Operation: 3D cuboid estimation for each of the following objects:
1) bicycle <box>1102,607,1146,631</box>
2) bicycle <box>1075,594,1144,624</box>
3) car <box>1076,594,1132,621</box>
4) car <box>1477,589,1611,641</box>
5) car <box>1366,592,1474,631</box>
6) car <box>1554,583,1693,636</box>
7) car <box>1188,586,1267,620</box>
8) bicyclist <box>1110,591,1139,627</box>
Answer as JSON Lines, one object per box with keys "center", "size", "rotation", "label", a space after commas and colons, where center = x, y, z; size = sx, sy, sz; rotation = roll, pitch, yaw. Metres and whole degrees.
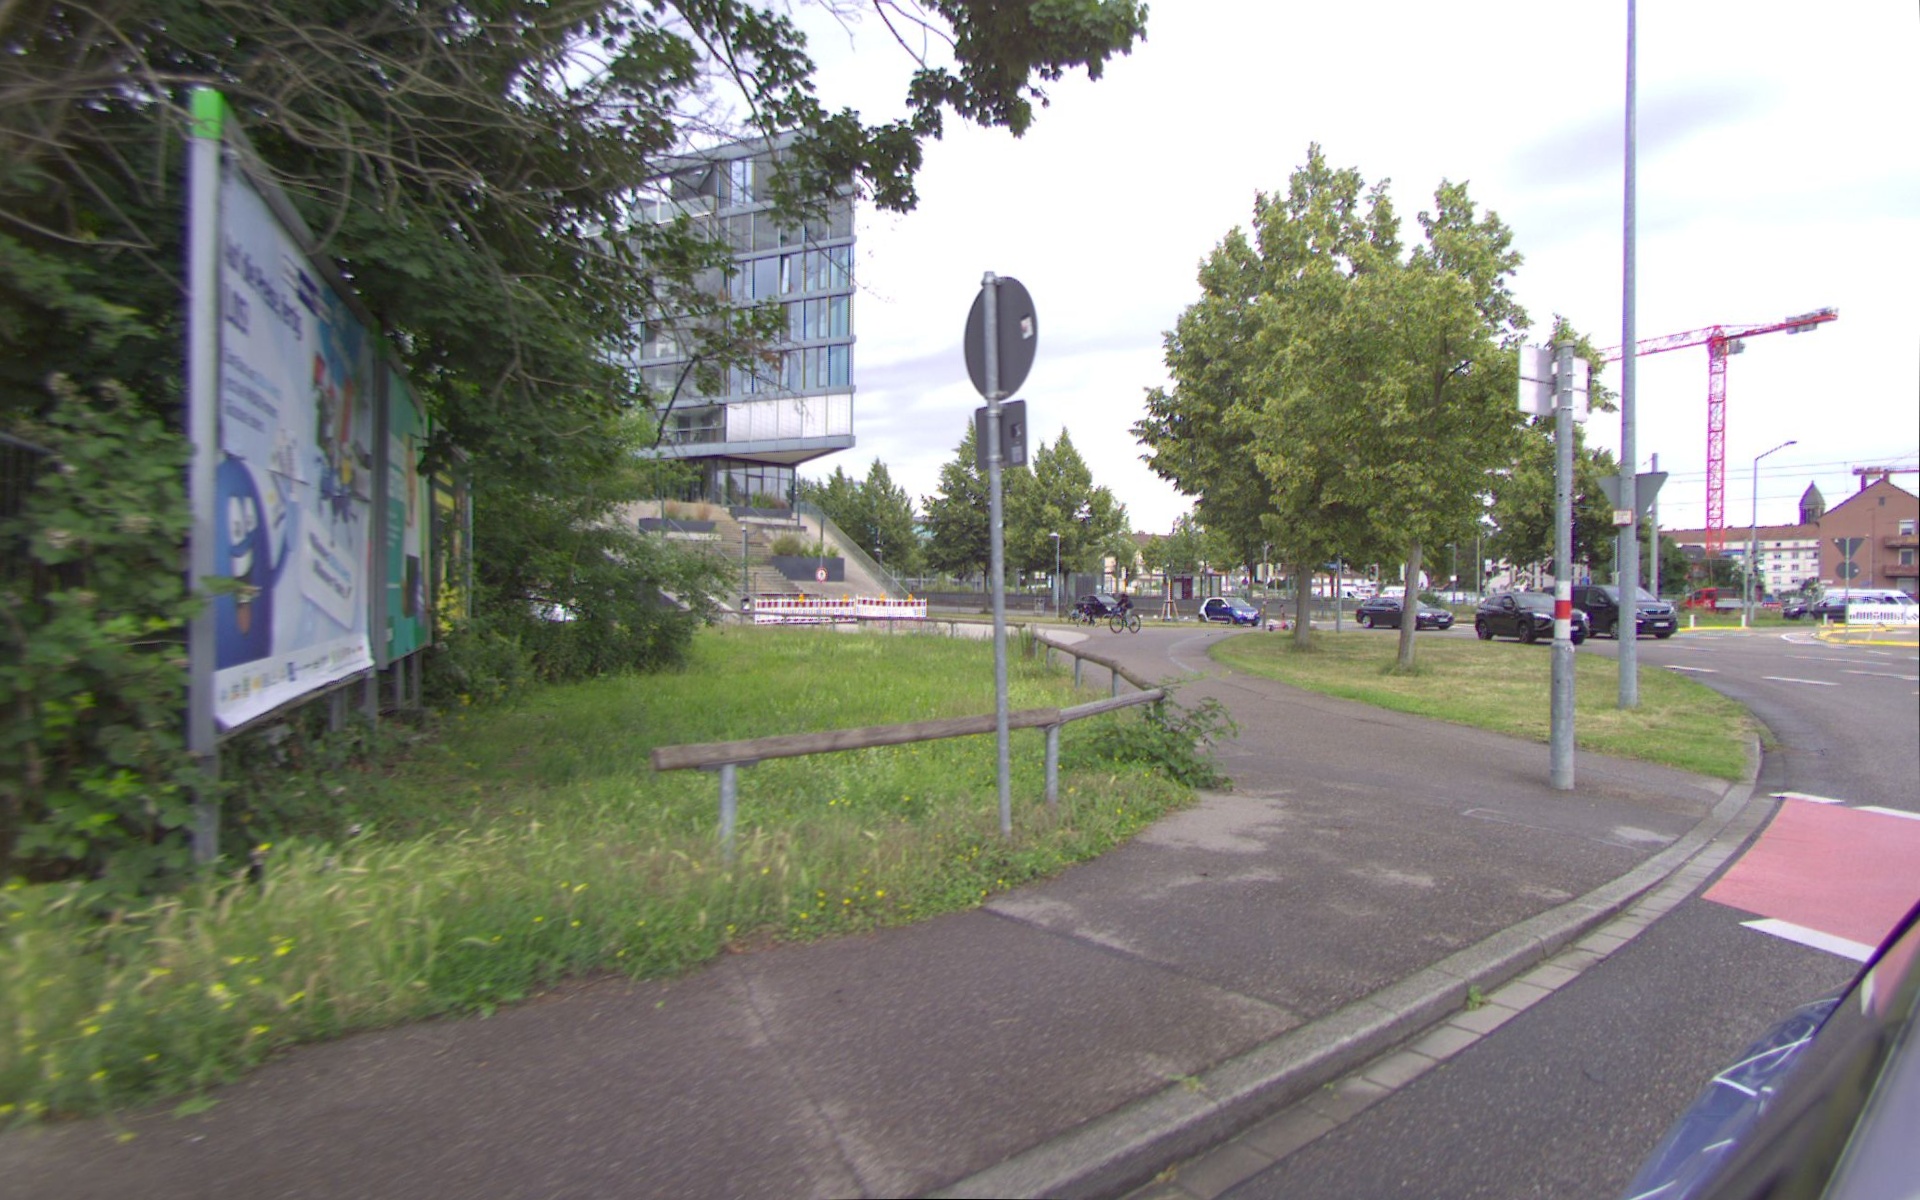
{"center": [6.317, 0.728, 38.877], "size": [0.620, 0.886, 1.956], "rotation": [3, 1, 44], "label": "bicycle"}
{"center": [6.792, 0.408, 45.927], "size": [3.007, 1.304, 1.019], "rotation": [1, 0, -26], "label": "bicycle"}
{"center": [9.774, 0.478, 68.919], "size": [1.823, 1.749, 4.006], "rotation": [1, 0, -27], "label": "car"}
{"center": [18.771, 0.431, 32.794], "size": [1.886, 1.586, 4.473], "rotation": [0, 0, 2], "label": "car"}
{"center": [20.617, 0.468, 45.527], "size": [1.958, 1.638, 4.369], "rotation": [1, 0, -18], "label": "car"}
{"center": [22.784, 0.295, 34.960], "size": [1.891, 1.736, 4.018], "rotation": [0, 0, -6], "label": "car"}
{"center": [14.198, 0.135, 53.855], "size": [1.823, 1.749, 4.006], "rotation": [1, 0, -27], "label": "car"}
{"center": [6.308, 0.337, 38.863], "size": [0.617, 1.353, 1.036], "rotation": [1, 0, 44], "label": "bicyclist"}
